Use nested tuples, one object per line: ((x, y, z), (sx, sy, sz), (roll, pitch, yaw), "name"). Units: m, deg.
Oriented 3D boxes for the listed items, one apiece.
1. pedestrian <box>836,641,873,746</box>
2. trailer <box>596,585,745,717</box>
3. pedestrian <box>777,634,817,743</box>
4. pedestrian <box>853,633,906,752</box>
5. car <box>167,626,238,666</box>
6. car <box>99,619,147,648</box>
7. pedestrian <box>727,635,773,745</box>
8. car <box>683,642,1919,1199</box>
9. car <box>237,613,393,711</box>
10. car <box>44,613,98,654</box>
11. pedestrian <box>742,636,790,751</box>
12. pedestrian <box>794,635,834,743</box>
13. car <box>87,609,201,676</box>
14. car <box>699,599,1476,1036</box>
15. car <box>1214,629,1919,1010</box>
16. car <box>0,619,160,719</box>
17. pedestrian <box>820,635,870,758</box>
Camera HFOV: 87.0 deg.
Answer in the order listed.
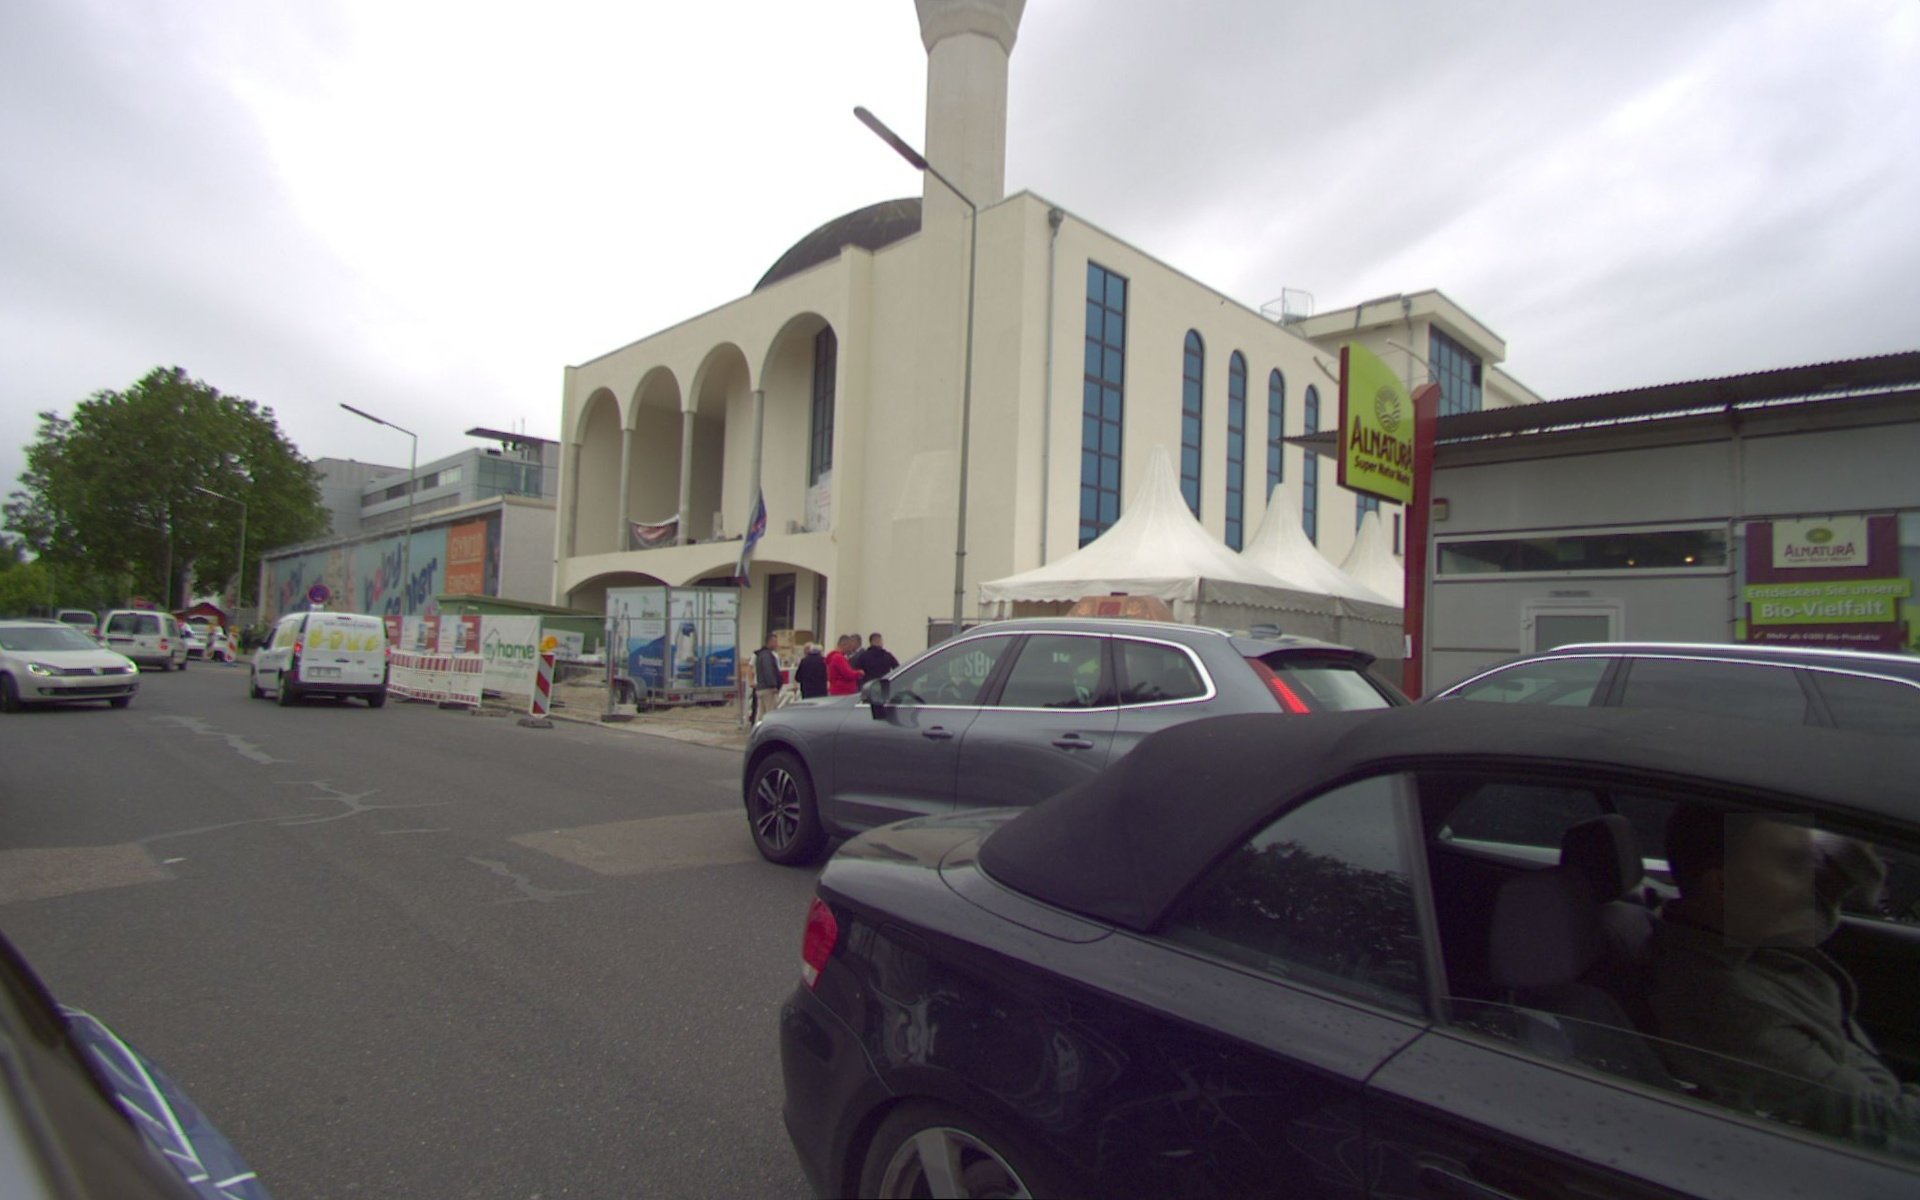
((-1.697, 1.495, 16.373), (0.485, 1.623, 0.540), (1, 2, 6), "pedestrian")
((-6.282, 1.096, 21.823), (1.776, 2.626, 3.195), (5, -5, -41), "trailer")
((-2.686, 1.449, 16.723), (0.522, 1.763, 0.490), (-2, -3, 4), "pedestrian")
((-1.222, 1.373, 15.289), (0.676, 1.731, 0.698), (-1, -3, -11), "pedestrian")
((-33.699, 2.026, 44.980), (1.902, 1.586, 4.153), (9, -7, -43), "car")
((-52.813, 2.106, 63.807), (1.902, 1.586, 4.153), (9, -7, -43), "car")
((-3.486, 1.482, 16.817), (0.681, 1.763, 0.491), (-1, -3, -6), "pedestrian")
((1.464, 0.823, 1.540), (4.139, 1.369, 1.726), (0, -3, 44), "car")
((-12.986, 1.203, 20.286), (4.136, 1.774, 1.670), (-1, -5, 45), "car")
((-48.918, 1.813, 55.630), (1.904, 2.029, 4.959), (5, -4, -43), "car")
((-3.065, 1.470, 16.024), (0.681, 1.763, 0.491), (-1, -3, -6), "pedestrian")
((-2.240, 1.358, 15.584), (0.563, 1.624, 0.491), (-1, -3, -6), "pedestrian")
((-24.819, 1.290, 30.942), (1.770, 1.821, 4.397), (5, -4, -28), "car")
((0.460, 0.948, 6.245), (4.497, 1.697, 1.911), (-1, -5, 45), "car")
((4.149, 1.129, 6.192), (1.843, 1.704, 4.733), (10, -8, -43), "car")
((-15.617, 1.080, 17.044), (4.276, 1.462, 1.742), (0, -2, 28), "car")
((-1.624, 1.354, 14.324), (0.509, 1.706, 0.530), (-2, -3, 14), "pedestrian")
